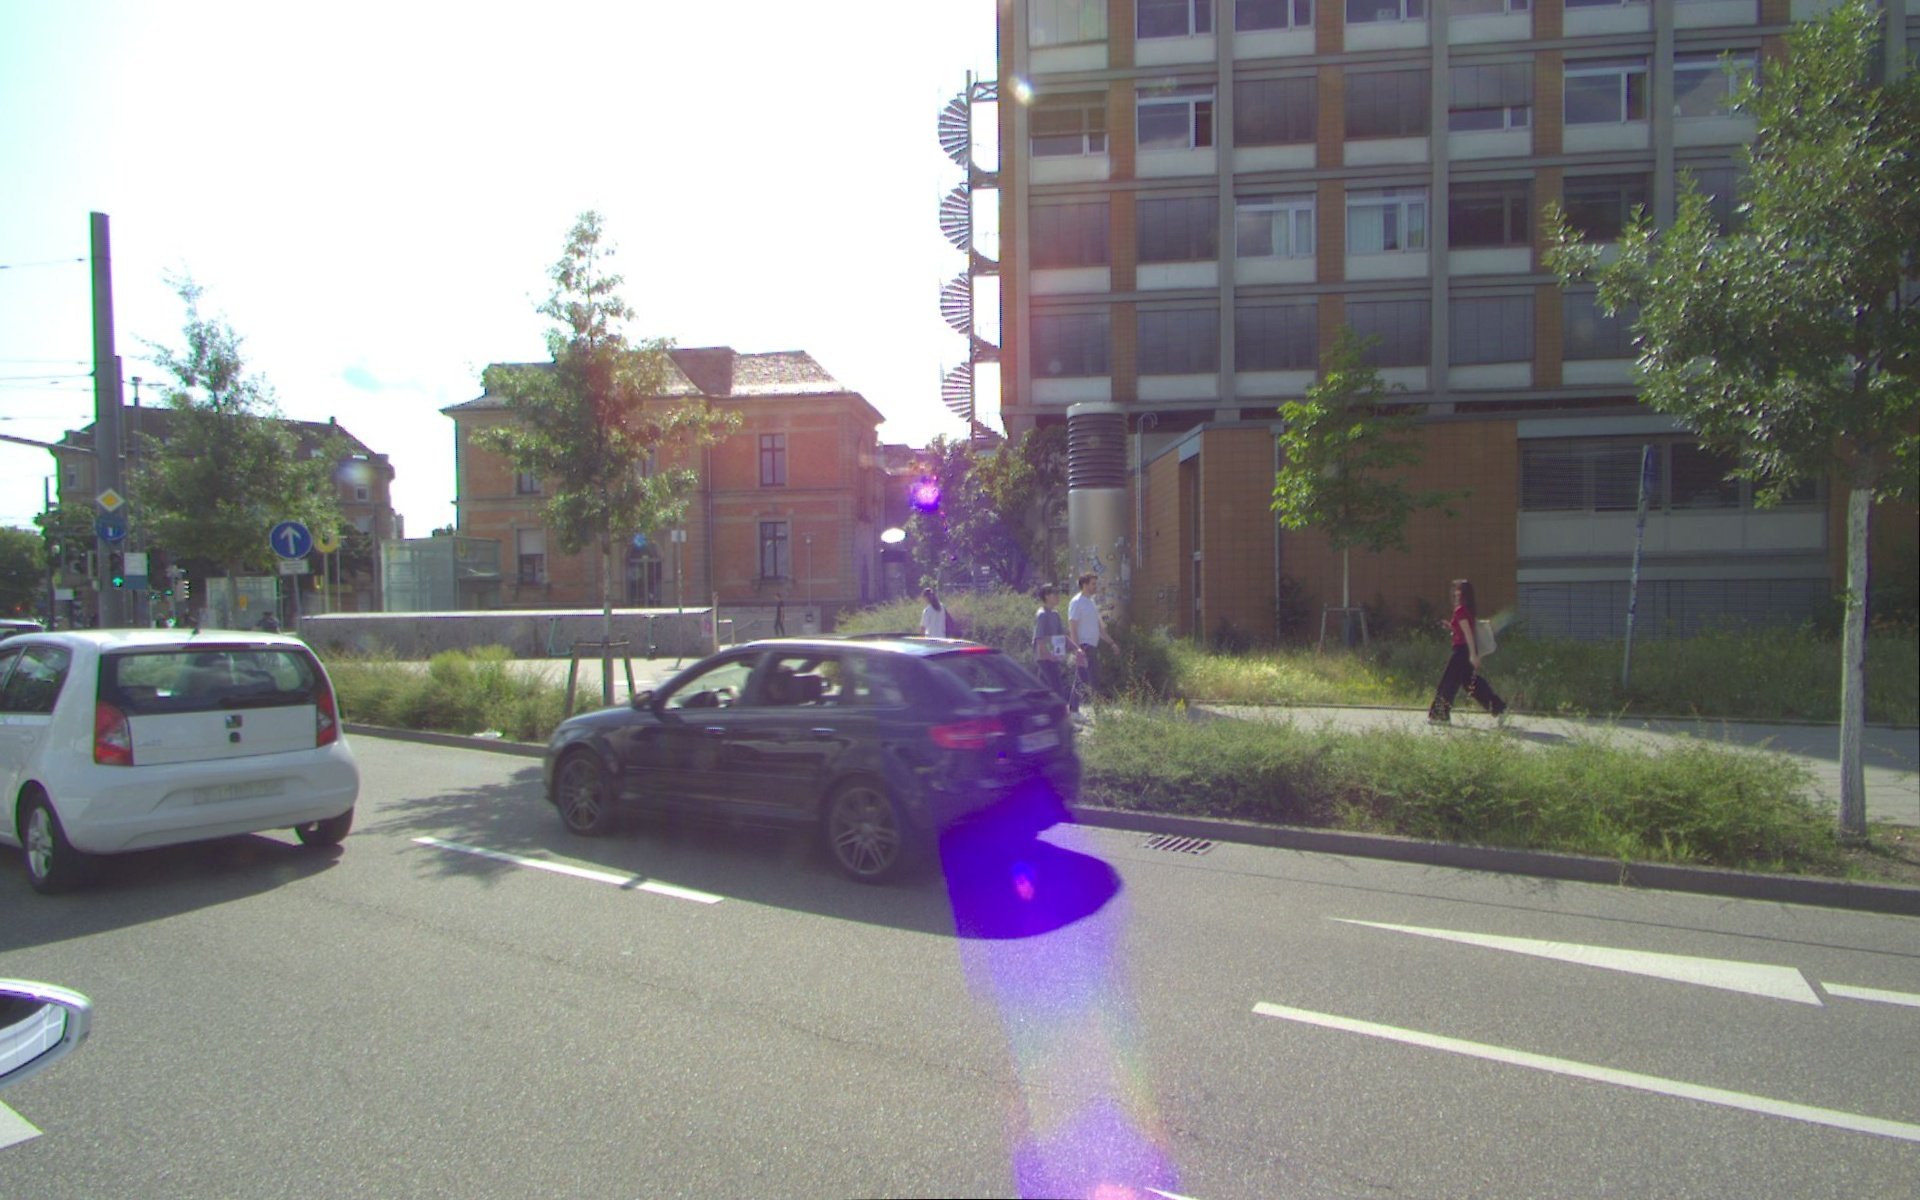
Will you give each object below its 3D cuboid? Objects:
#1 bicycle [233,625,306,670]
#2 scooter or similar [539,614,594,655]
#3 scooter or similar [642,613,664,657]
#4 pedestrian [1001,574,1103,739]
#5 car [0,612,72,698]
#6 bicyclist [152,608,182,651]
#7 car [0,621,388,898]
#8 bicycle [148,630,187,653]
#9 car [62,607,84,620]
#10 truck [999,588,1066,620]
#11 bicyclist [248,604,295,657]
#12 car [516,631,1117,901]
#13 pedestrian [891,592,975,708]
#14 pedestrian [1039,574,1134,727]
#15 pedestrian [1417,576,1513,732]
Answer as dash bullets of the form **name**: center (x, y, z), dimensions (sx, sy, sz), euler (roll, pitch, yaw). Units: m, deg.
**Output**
- **bicycle**: center (-16.887, 1.145, 24.477), dimensions (1.936, 0.983, 0.843), euler (-1, 3, 37)
- **scooter or similar**: center (-11.245, 0.988, 28.612), dimensions (1.420, 1.133, 0.465), euler (0, 2, 13)
- **scooter or similar**: center (-8.334, 0.935, 27.234), dimensions (0.457, 1.119, 1.316), euler (-1, 1, -13)
- **pedestrian**: center (1.054, 0.619, 11.378), dimensions (0.876, 1.778, 0.740), euler (-1, 3, 30)
- **car**: center (-20.135, 1.126, 20.861), dimensions (3.951, 1.673, 1.829), euler (-2, -1, 39)
- **bicyclist**: center (-27.419, 1.014, 34.635), dimensions (0.763, 1.470, 0.606), euler (0, 0, 34)
- **car**: center (-5.930, 0.875, 6.987), dimensions (3.941, 1.440, 1.647), euler (0, -1, 31)
- **bicycle**: center (-27.438, 1.430, 34.669), dimensions (1.599, 0.786, 0.583), euler (-1, 0, 34)
- **car**: center (-116.107, 1.769, 131.061), dimensions (1.820, 1.673, 3.971), euler (0, -1, -37)
- **truck**: center (4.923, 0.281, 67.493), dimensions (4.304, 2.039, 2.000), euler (0, -2, 11)
- **bicyclist**: center (-16.767, 0.735, 24.388), dimensions (0.911, 1.237, 0.632), euler (0, 3, 35)
- **car**: center (-1.115, 0.942, 7.079), dimensions (4.073, 1.389, 1.696), euler (-1, -2, 32)
- **pedestrian**: center (-0.411, 0.725, 14.984), dimensions (1.084, 1.645, 0.610), euler (0, 3, 42)
- **pedestrian**: center (1.541, 0.587, 12.131), dimensions (0.876, 1.770, 0.740), euler (-1, 3, 30)
- **pedestrian**: center (5.586, 0.577, 11.061), dimensions (0.877, 1.645, 0.612), euler (-1, 3, 32)
